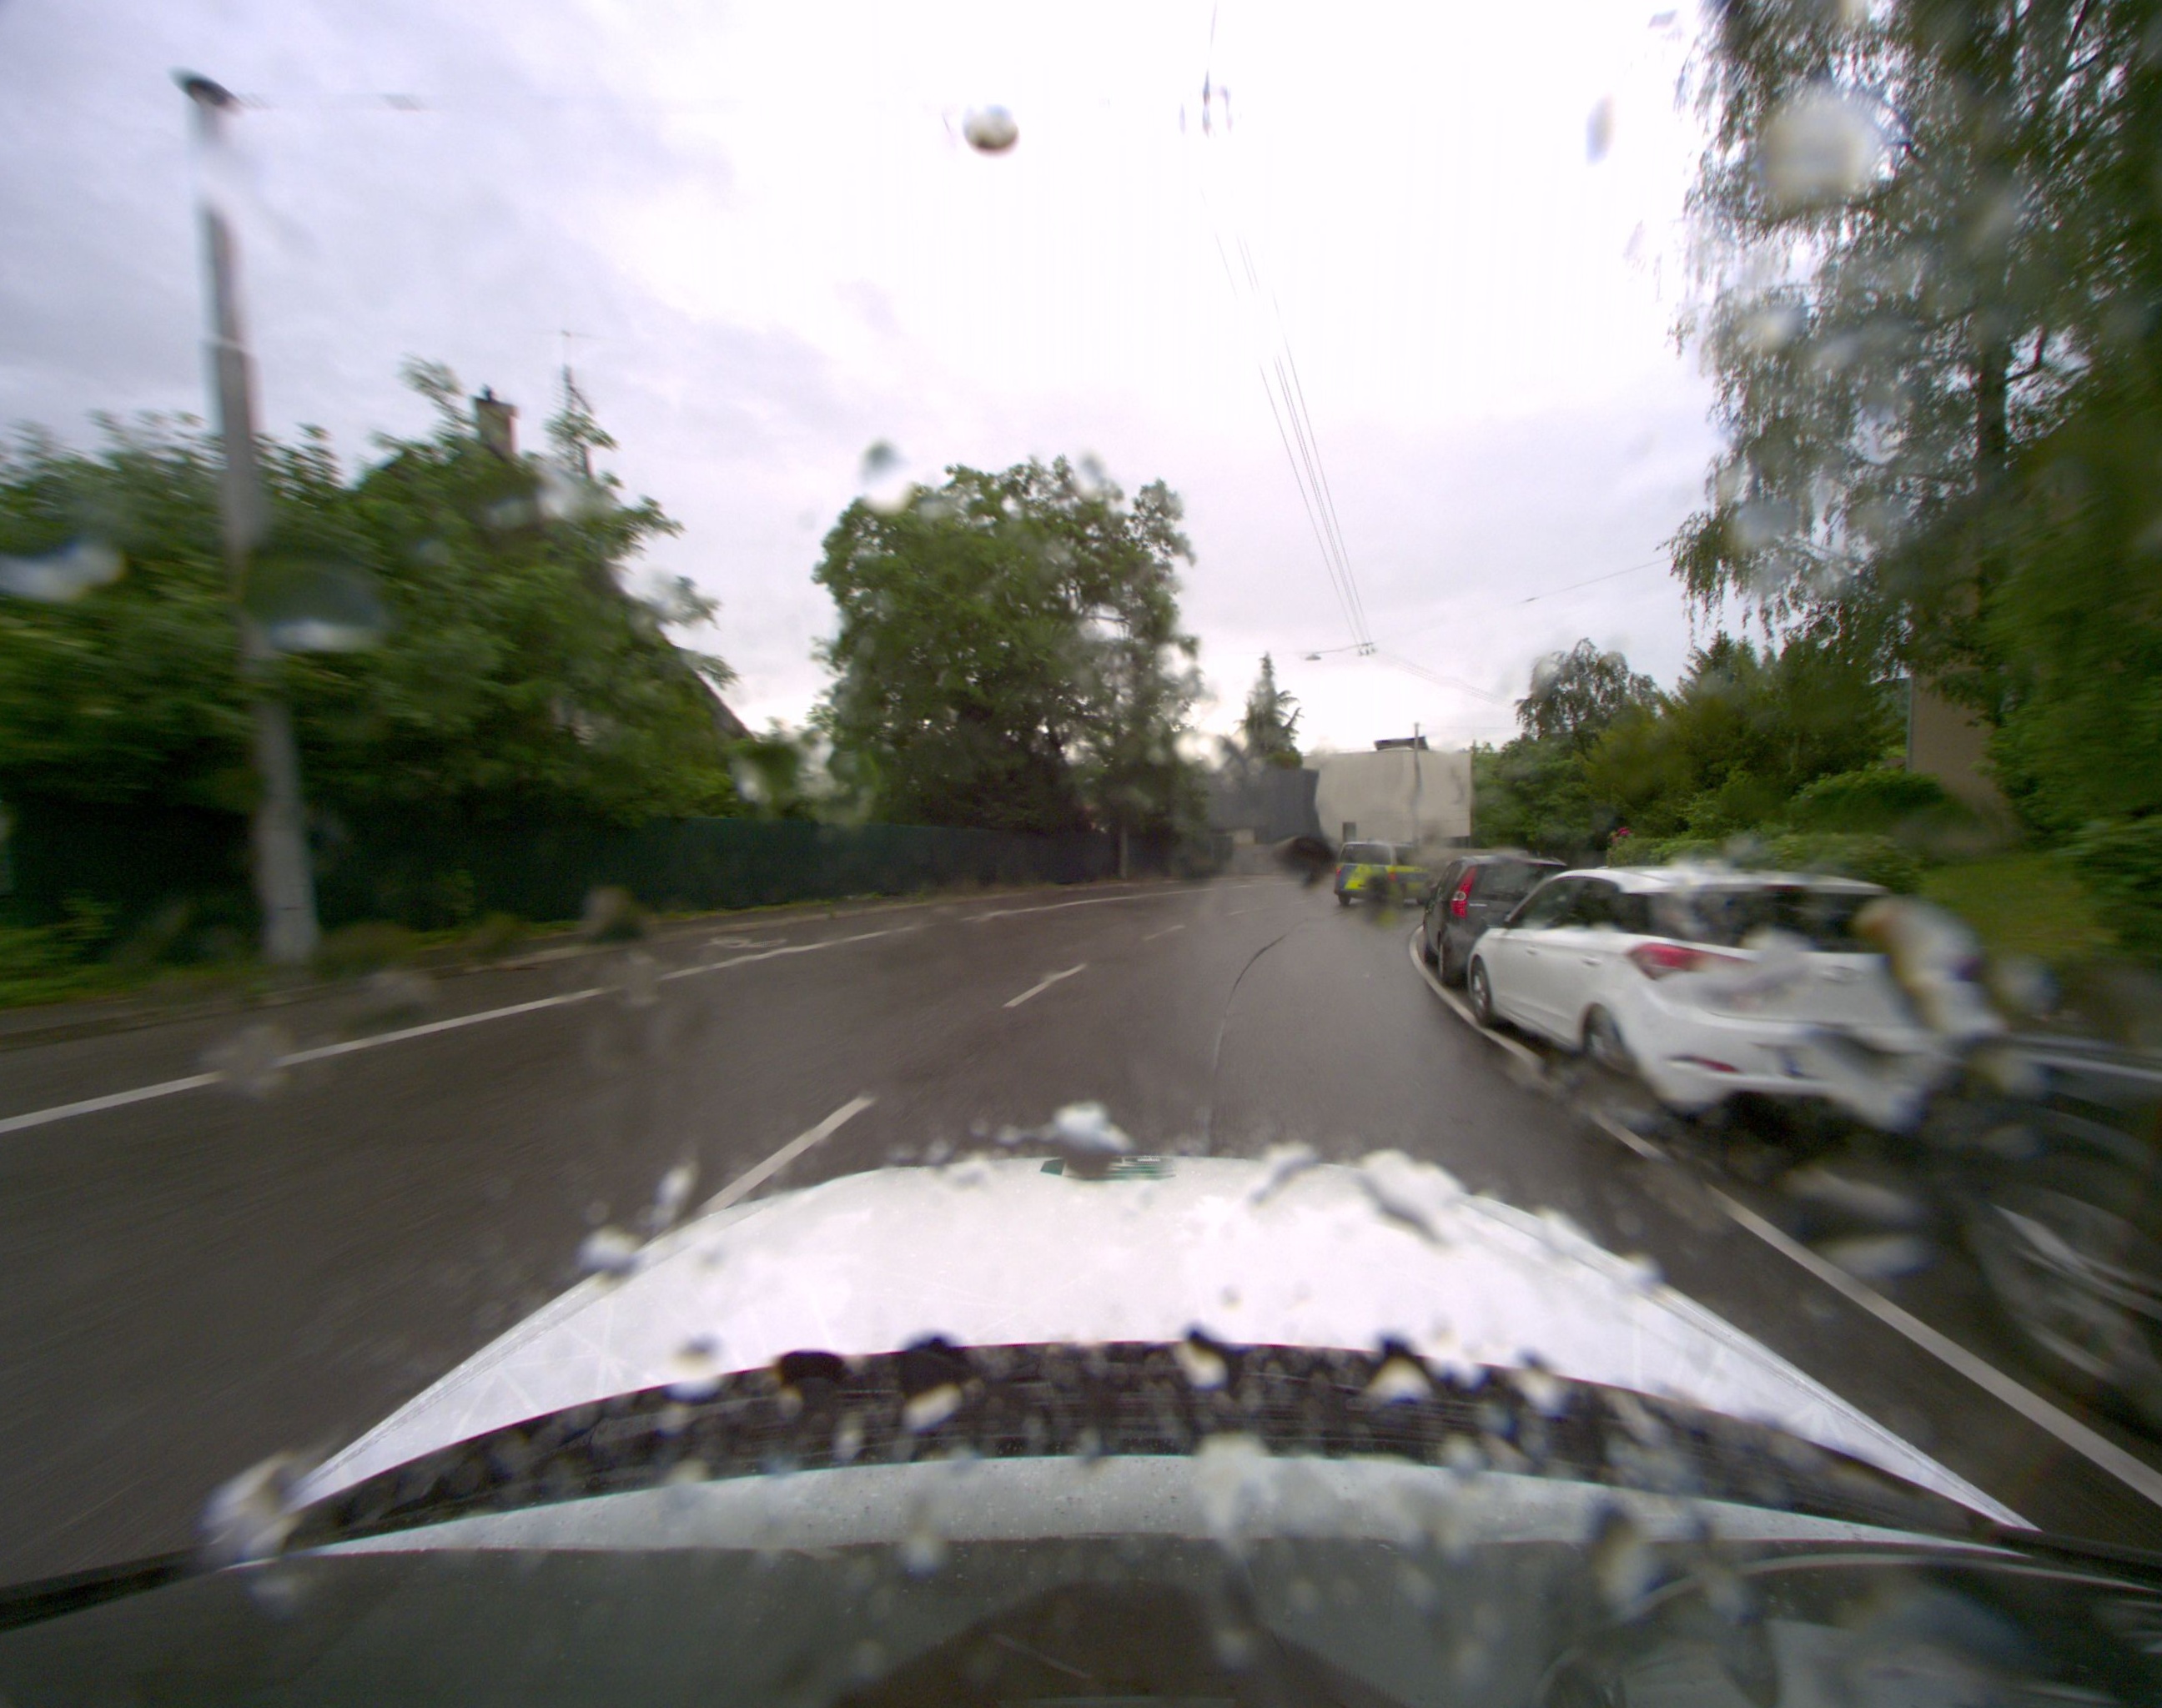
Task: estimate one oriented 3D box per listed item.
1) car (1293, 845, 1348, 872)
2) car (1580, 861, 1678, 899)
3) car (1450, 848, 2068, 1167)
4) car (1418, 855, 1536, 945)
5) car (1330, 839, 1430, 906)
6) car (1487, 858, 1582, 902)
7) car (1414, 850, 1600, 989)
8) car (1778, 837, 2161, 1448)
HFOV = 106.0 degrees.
[{"bbox_3d":[12.953,0.200,44.268,1.884,1.301,4.003,2,2,2],"label":"car"},{"bbox_3d":[22.631,1.031,33.592,4.587,1.435,1.766,0,-1,-34],"label":"car"},{"bbox_3d":[4.092,0.739,5.897,1.715,1.464,4.044,-2,-1,12],"label":"car"},{"bbox_3d":[7.352,0.768,15.317,1.700,1.435,4.092,-2,-1,24],"label":"car"},{"bbox_3d":[9.515,0.571,25.673,1.974,1.893,4.598,1,0,32],"label":"car"},{"bbox_3d":[15.467,0.818,27.654,1.790,1.348,4.648,-1,-1,42],"label":"car"},{"bbox_3d":[5.424,0.733,10.806,1.606,1.505,3.622,-2,-1,19],"label":"car"},{"bbox_3d":[3.402,0.722,1.066,1.616,1.519,4.334,0,0,6],"label":"car"}]
